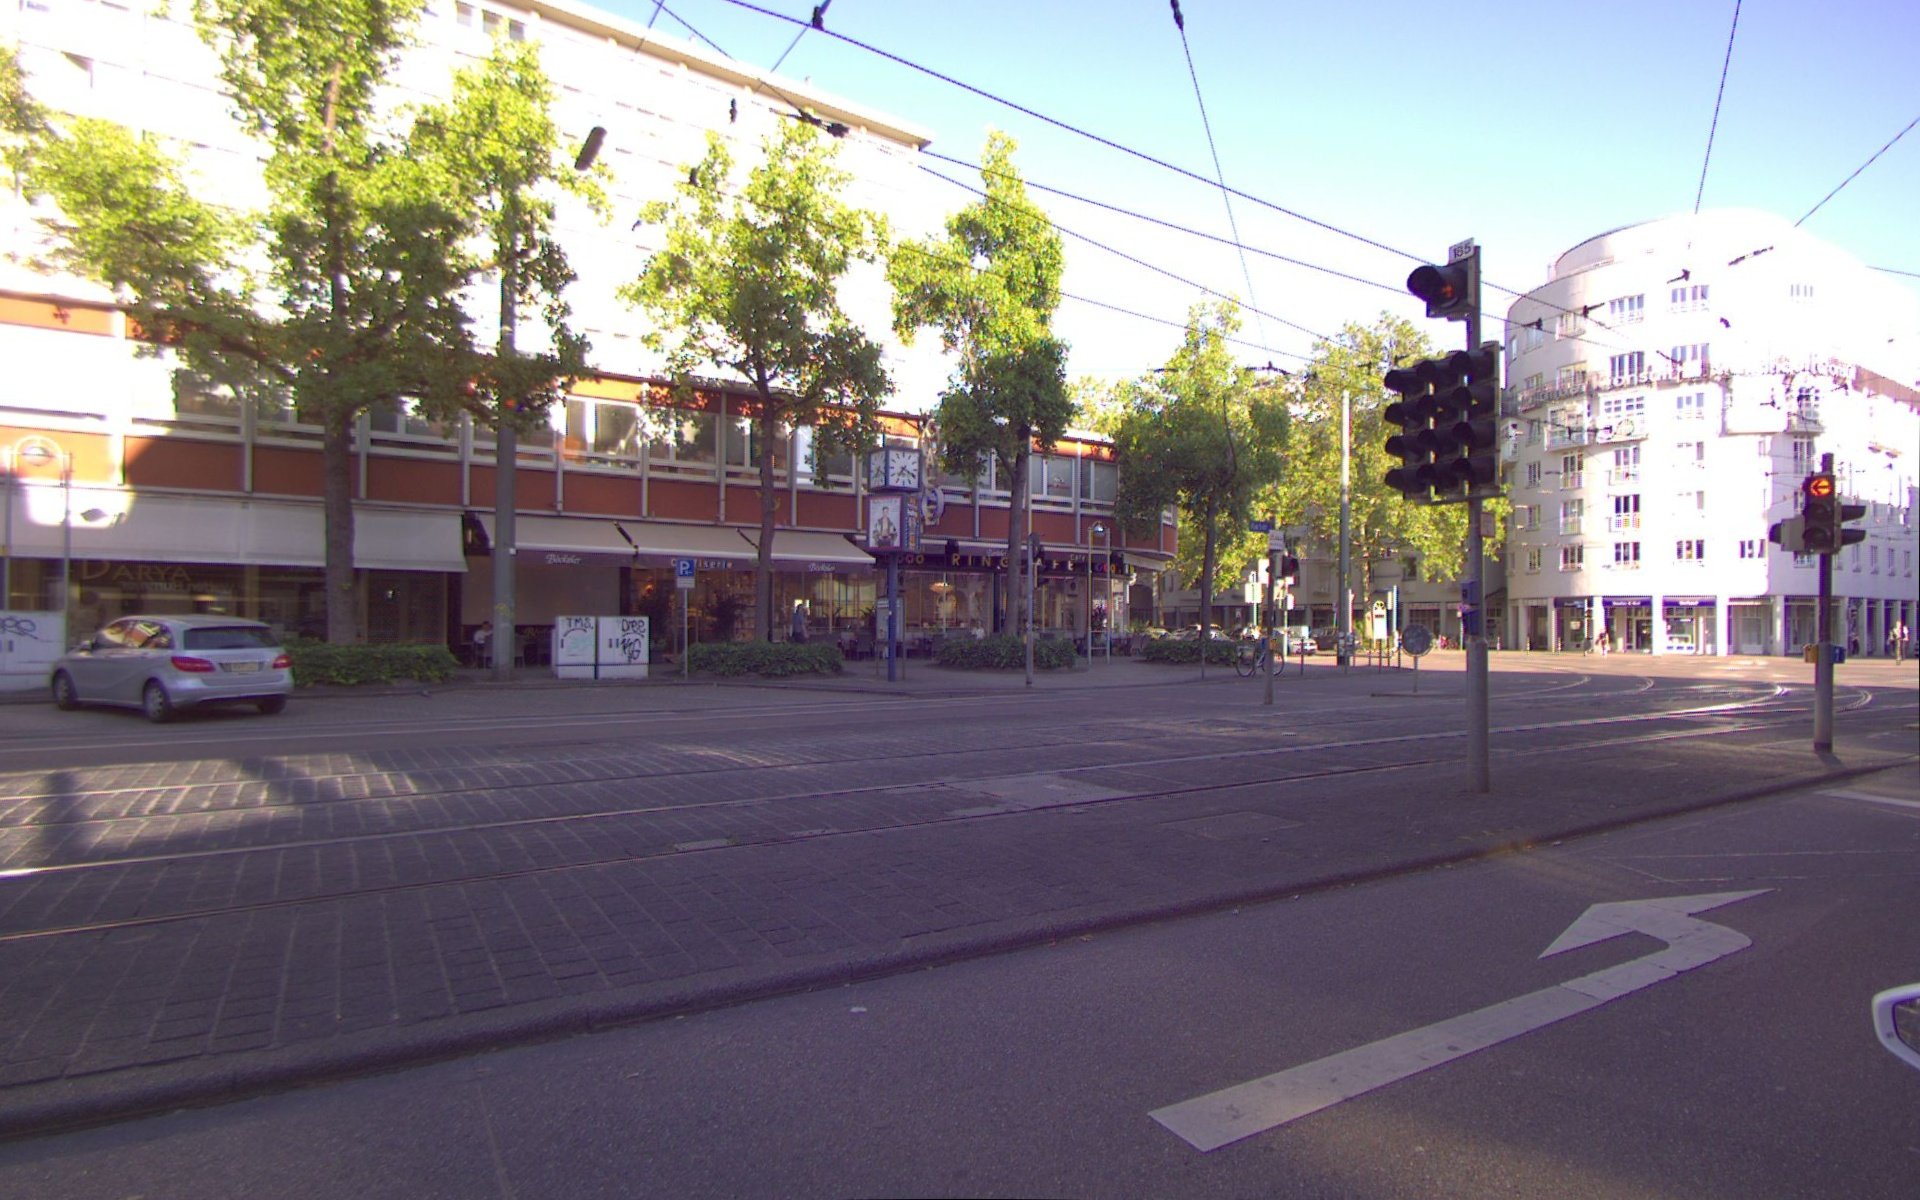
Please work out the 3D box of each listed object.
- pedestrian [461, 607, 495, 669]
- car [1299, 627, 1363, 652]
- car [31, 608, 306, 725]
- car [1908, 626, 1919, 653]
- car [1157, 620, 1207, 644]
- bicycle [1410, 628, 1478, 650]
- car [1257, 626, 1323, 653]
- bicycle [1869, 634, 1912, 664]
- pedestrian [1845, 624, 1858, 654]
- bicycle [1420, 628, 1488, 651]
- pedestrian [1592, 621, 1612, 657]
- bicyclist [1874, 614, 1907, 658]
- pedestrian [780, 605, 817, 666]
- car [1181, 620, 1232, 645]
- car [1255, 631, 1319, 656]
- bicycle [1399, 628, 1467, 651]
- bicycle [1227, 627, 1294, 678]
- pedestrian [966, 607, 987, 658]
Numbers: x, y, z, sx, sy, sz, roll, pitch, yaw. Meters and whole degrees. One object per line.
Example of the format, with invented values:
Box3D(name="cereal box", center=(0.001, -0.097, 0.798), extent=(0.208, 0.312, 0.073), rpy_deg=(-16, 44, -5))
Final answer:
Box3D(name="pedestrian", center=(-12.629, 0.983, 26.302), extent=(0.699, 1.584, 0.867), rpy_deg=(1, -1, -33))
Box3D(name="car", center=(24.863, 2.623, 67.423), extent=(1.596, 1.551, 3.972), rpy_deg=(0, -1, -27))
Box3D(name="car", center=(-12.769, 0.987, 16.181), extent=(4.200, 1.587, 1.825), rpy_deg=(1, -1, 26))
Box3D(name="car", center=(59.060, 2.393, 60.741), extent=(3.423, 1.566, 1.756), rpy_deg=(1, -2, -32))
Box3D(name="car", center=(19.117, 2.736, 86.416), extent=(3.954, 1.990, 1.984), rpy_deg=(1, -1, -31))
Box3D(name="bicycle", center=(34.673, 2.789, 72.089), extent=(1.053, 1.550, 4.684), rpy_deg=(1, -2, -29))
Box3D(name="car", center=(19.438, 2.311, 59.303), extent=(1.605, 1.579, 4.000), rpy_deg=(0, -2, -19))
Box3D(name="bicycle", center=(37.892, 1.980, 40.904), extent=(2.028, 1.162, 0.803), rpy_deg=(1, -2, -33))
Box3D(name="pedestrian", center=(52.322, 2.281, 58.956), extent=(0.482, 1.704, 0.519), rpy_deg=(1, -1, -40))
Box3D(name="bicycle", center=(35.841, 2.838, 73.025), extent=(1.053, 1.550, 4.684), rpy_deg=(1, -2, -29))
Box3D(name="pedestrian", center=(37.134, 2.241, 58.129), extent=(0.930, 2.040, 0.939), rpy_deg=(0, -1, 30))
Box3D(name="bicyclist", center=(37.901, 1.464, 40.917), extent=(0.786, 1.749, 0.803), rpy_deg=(1, -1, -33))
Box3D(name="pedestrian", center=(-4.773, 1.038, 29.613), extent=(0.866, 1.745, 0.700), rpy_deg=(0, 1, -34))
Box3D(name="car", center=(20.601, 2.698, 83.907), extent=(3.954, 1.990, 1.984), rpy_deg=(1, -1, -31))
Box3D(name="car", center=(17.578, 2.321, 54.188), extent=(1.738, 1.312, 4.014), rpy_deg=(0, -2, -7))
Box3D(name="bicycle", center=(33.643, 2.782, 71.624), extent=(1.053, 1.550, 4.684), rpy_deg=(1, -2, -29))
Box3D(name="bicycle", center=(8.387, 1.439, 28.001), extent=(1.884, 1.345, 0.667), rpy_deg=(1, 2, -31))
Box3D(name="pedestrian", center=(0.582, 1.135, 35.451), extent=(0.590, 1.745, 0.647), rpy_deg=(0, 1, -14))
